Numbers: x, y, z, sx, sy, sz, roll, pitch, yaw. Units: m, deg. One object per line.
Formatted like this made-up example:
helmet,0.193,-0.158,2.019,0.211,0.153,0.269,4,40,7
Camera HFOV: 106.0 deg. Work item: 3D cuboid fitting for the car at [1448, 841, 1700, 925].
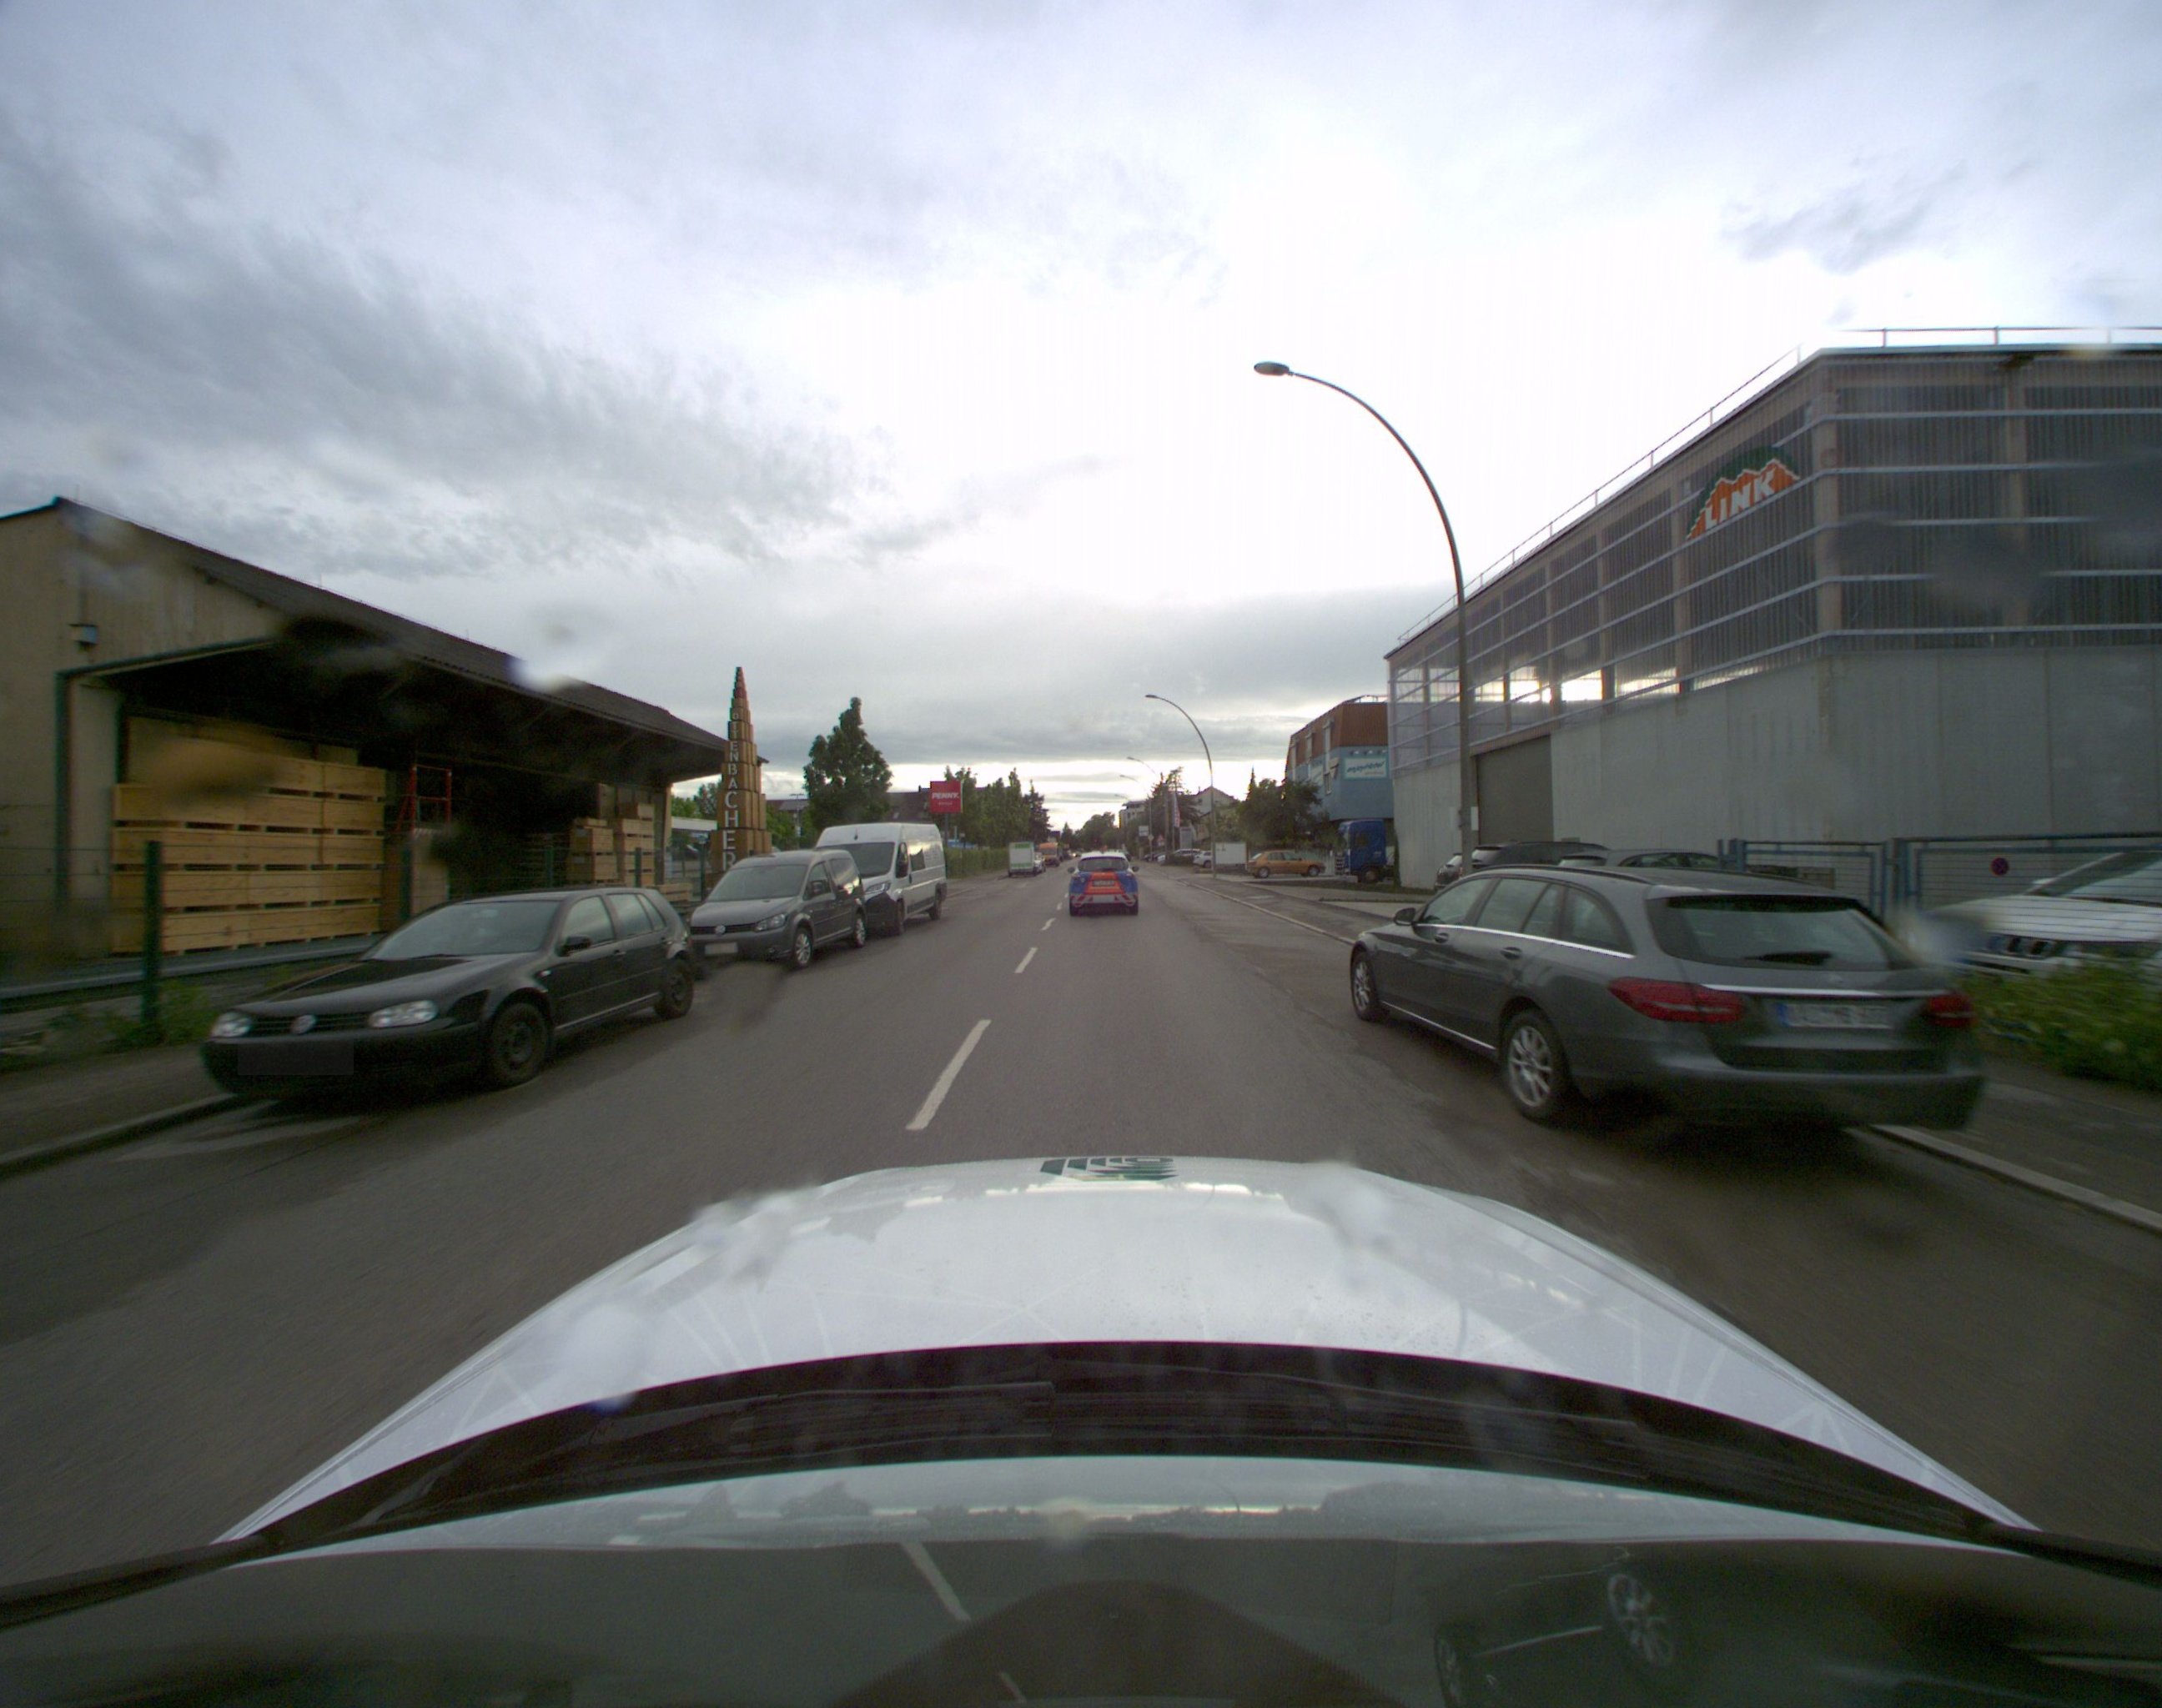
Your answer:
car,10.388,0.589,17.452,4.208,1.675,1.983,0,0,3

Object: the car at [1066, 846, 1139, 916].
car,0.516,0.649,21.217,1.726,1.630,3.494,-1,0,0

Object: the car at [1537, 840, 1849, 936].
car,10.837,0.570,14.655,4.228,1.536,1.812,-1,0,0

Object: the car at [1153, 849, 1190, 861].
car,10.178,0.091,91.854,3.971,1.266,1.952,0,0,2

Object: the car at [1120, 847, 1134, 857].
car,6.198,-0.229,108.986,1.585,1.341,4.091,0,0,-1

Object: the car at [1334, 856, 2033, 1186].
car,3.402,0.751,5.911,1.733,1.466,4.545,0,0,0

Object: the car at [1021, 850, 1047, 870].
car,-3.841,0.450,67.247,1.799,1.573,4.342,-1,0,0

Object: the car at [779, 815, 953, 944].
car,-4.758,0.497,19.362,2.150,2.427,6.461,-4,0,1

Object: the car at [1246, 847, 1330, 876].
car,10.697,0.382,42.264,3.975,1.430,1.630,-1,0,-1

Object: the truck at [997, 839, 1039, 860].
truck,-9.385,-0.636,121.383,5.890,3.073,2.450,0,0,1

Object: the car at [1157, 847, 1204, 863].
car,9.533,0.125,78.625,4.324,1.475,1.902,0,0,0

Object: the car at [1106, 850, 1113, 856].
car,7.356,-0.302,211.247,1.645,1.671,3.998,0,0,-1

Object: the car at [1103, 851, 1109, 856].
car,7.322,-0.269,243.187,1.645,1.483,3.998,0,0,-1

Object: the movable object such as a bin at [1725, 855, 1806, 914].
movable object such as a bin,16.149,0.705,19.265,0.834,1.339,1.331,0,0,2

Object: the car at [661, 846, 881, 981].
car,-4.911,0.843,13.693,1.763,1.768,4.447,-5,0,1

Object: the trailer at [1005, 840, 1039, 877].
trailer,-4.014,0.289,55.975,1.807,2.314,4.730,-3,0,0

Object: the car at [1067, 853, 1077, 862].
car,-1.603,0.600,143.640,1.552,1.433,4.001,0,0,1

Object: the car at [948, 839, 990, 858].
car,-12.077,-0.586,88.002,4.291,2.014,2.063,0,0,1

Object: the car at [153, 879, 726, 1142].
car,-4.944,1.037,7.251,1.656,1.448,4.316,-2,0,-1

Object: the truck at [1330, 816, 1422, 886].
truck,16.627,-0.169,46.106,4.133,3.673,2.718,2,0,-2

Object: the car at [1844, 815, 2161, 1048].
car,9.304,0.553,6.643,4.431,1.624,1.893,0,0,0

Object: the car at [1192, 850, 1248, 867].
car,11.569,0.372,68.102,4.401,1.393,1.880,0,0,-1

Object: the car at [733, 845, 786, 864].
car,-28.389,0.031,71.942,3.983,1.606,1.768,0,0,-7

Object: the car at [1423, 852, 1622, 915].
car,10.817,0.698,20.159,3.951,1.490,1.834,0,0,2

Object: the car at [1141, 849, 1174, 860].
car,9.732,0.058,103.535,3.975,1.266,1.950,0,0,-1

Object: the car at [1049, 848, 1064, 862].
car,-3.605,0.181,118.780,1.987,1.947,5.365,0,0,0

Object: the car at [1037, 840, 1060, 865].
car,-3.442,-0.149,86.651,2.117,2.537,6.021,-1,0,0

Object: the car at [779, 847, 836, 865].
car,-22.141,0.145,66.031,3.969,1.387,1.801,0,0,-4

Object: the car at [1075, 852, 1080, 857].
car,-0.927,0.134,222.040,1.382,1.483,3.782,-1,0,-1

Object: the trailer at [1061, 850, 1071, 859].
trailer,-2.455,0.114,136.002,1.712,1.260,5.243,0,2,-1

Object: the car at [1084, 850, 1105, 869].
car,1.098,0.448,68.574,1.645,1.521,3.998,0,0,-1

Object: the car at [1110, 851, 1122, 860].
car,6.074,0.226,140.926,1.707,1.438,4.524,0,0,-1

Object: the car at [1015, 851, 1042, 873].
car,-3.941,0.561,61.626,1.766,1.498,4.137,-1,1,0
